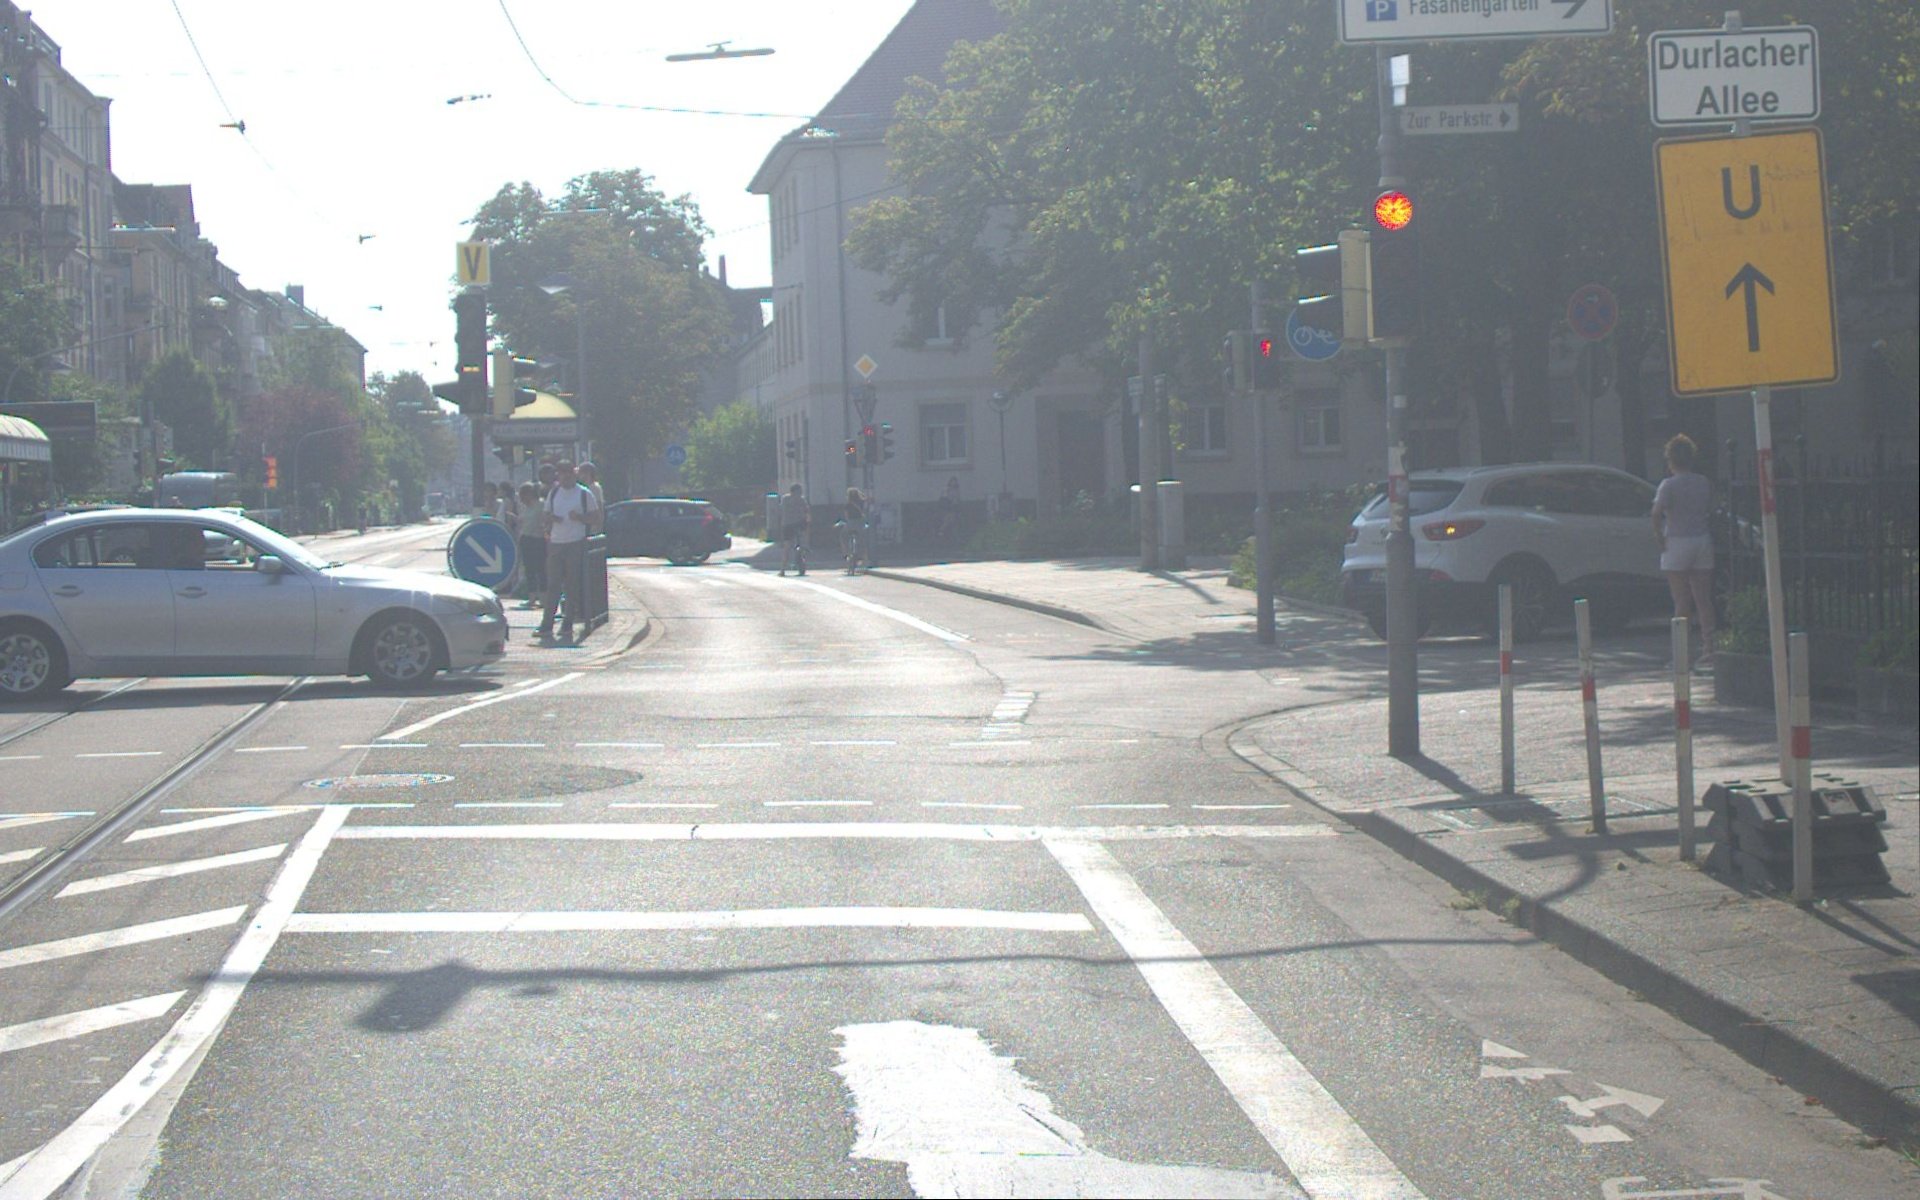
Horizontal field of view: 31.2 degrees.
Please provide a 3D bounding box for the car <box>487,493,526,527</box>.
[{"bbox_3d":[-22.897,-4.574,173.608,1.801,1.648,3.643,-2,2,-5],"label":"car"}]

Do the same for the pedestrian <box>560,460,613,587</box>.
[{"bbox_3d":[-5.241,-1.075,48.191,0.708,1.753,0.534,1,4,-6],"label":"pedestrian"}]

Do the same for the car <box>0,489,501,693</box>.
[{"bbox_3d":[-6.106,-0.089,27.313,4.770,1.461,1.871,-2,2,-5],"label":"car"}]

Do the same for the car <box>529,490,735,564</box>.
[{"bbox_3d":[-7.451,-1.674,78.352,4.323,1.563,2.000,-1,2,5],"label":"car"}]

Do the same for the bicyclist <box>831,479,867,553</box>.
[{"bbox_3d":[-2.148,-1.623,66.340,0.558,1.412,0.872,-2,2,-8],"label":"bicyclist"}]

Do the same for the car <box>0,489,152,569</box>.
[{"bbox_3d":[-20.278,-1.577,76.729,4.321,1.669,2.001,-2,2,-13],"label":"car"}]

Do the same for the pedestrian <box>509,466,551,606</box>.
[{"bbox_3d":[-5.499,-0.824,43.953,0.504,1.753,0.534,1,4,-6],"label":"pedestrian"}]

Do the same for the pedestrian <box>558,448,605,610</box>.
[{"bbox_3d":[-4.331,-0.816,39.339,0.504,1.827,0.534,1,4,-6],"label":"pedestrian"}]

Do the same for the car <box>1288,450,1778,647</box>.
[{"bbox_3d":[5.348,-0.516,31.880,4.319,1.625,2.000,-3,3,-36],"label":"car"}]

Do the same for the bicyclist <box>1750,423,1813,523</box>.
[{"bbox_3d":[15.424,-2.387,64.544,0.989,1.851,0.492,0,2,40],"label":"bicyclist"}]

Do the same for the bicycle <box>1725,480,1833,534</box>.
[{"bbox_3d":[15.387,-1.742,64.601,1.940,0.974,0.495,0,2,40],"label":"bicycle"}]

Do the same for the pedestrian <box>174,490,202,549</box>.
[{"bbox_3d":[-22.978,-2.390,102.309,0.749,1.725,0.772,-2,2,-15],"label":"pedestrian"}]

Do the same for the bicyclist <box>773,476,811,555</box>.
[{"bbox_3d":[-3.274,-1.647,66.895,0.628,1.502,0.679,-2,2,-8],"label":"bicyclist"}]

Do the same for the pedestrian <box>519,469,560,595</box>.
[{"bbox_3d":[-5.958,-0.965,48.747,0.543,1.753,0.534,1,4,-6],"label":"pedestrian"}]

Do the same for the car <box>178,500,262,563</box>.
[{"bbox_3d":[-20.330,-1.905,94.518,1.801,1.648,3.643,-2,2,-5],"label":"car"}]

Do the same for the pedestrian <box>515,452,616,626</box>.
[{"bbox_3d":[-4.026,-0.637,35.085,0.701,1.719,0.747,3,4,27],"label":"pedestrian"}]

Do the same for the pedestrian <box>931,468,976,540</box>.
[{"bbox_3d":[-0.159,-2.370,84.662,0.892,1.734,0.775,-1,2,17],"label":"pedestrian"}]

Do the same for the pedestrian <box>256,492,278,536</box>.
[{"bbox_3d":[-28.018,-3.472,138.953,0.749,1.725,0.772,-2,2,-15],"label":"pedestrian"}]

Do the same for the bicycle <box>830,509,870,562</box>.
[{"bbox_3d":[-2.130,-1.252,66.340,0.558,0.974,1.857,-2,2,-8],"label":"bicycle"}]

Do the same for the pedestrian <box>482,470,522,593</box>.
[{"bbox_3d":[-6.672,-1.001,50.102,0.532,1.753,0.545,1,4,-5],"label":"pedestrian"}]

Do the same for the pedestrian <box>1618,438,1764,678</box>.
[{"bbox_3d":[5.395,-0.315,25.392,0.749,1.725,0.772,-2,2,-15],"label":"pedestrian"}]

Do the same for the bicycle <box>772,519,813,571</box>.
[{"bbox_3d":[-3.264,-1.079,66.916,0.628,0.974,1.771,-2,2,-8],"label":"bicycle"}]
